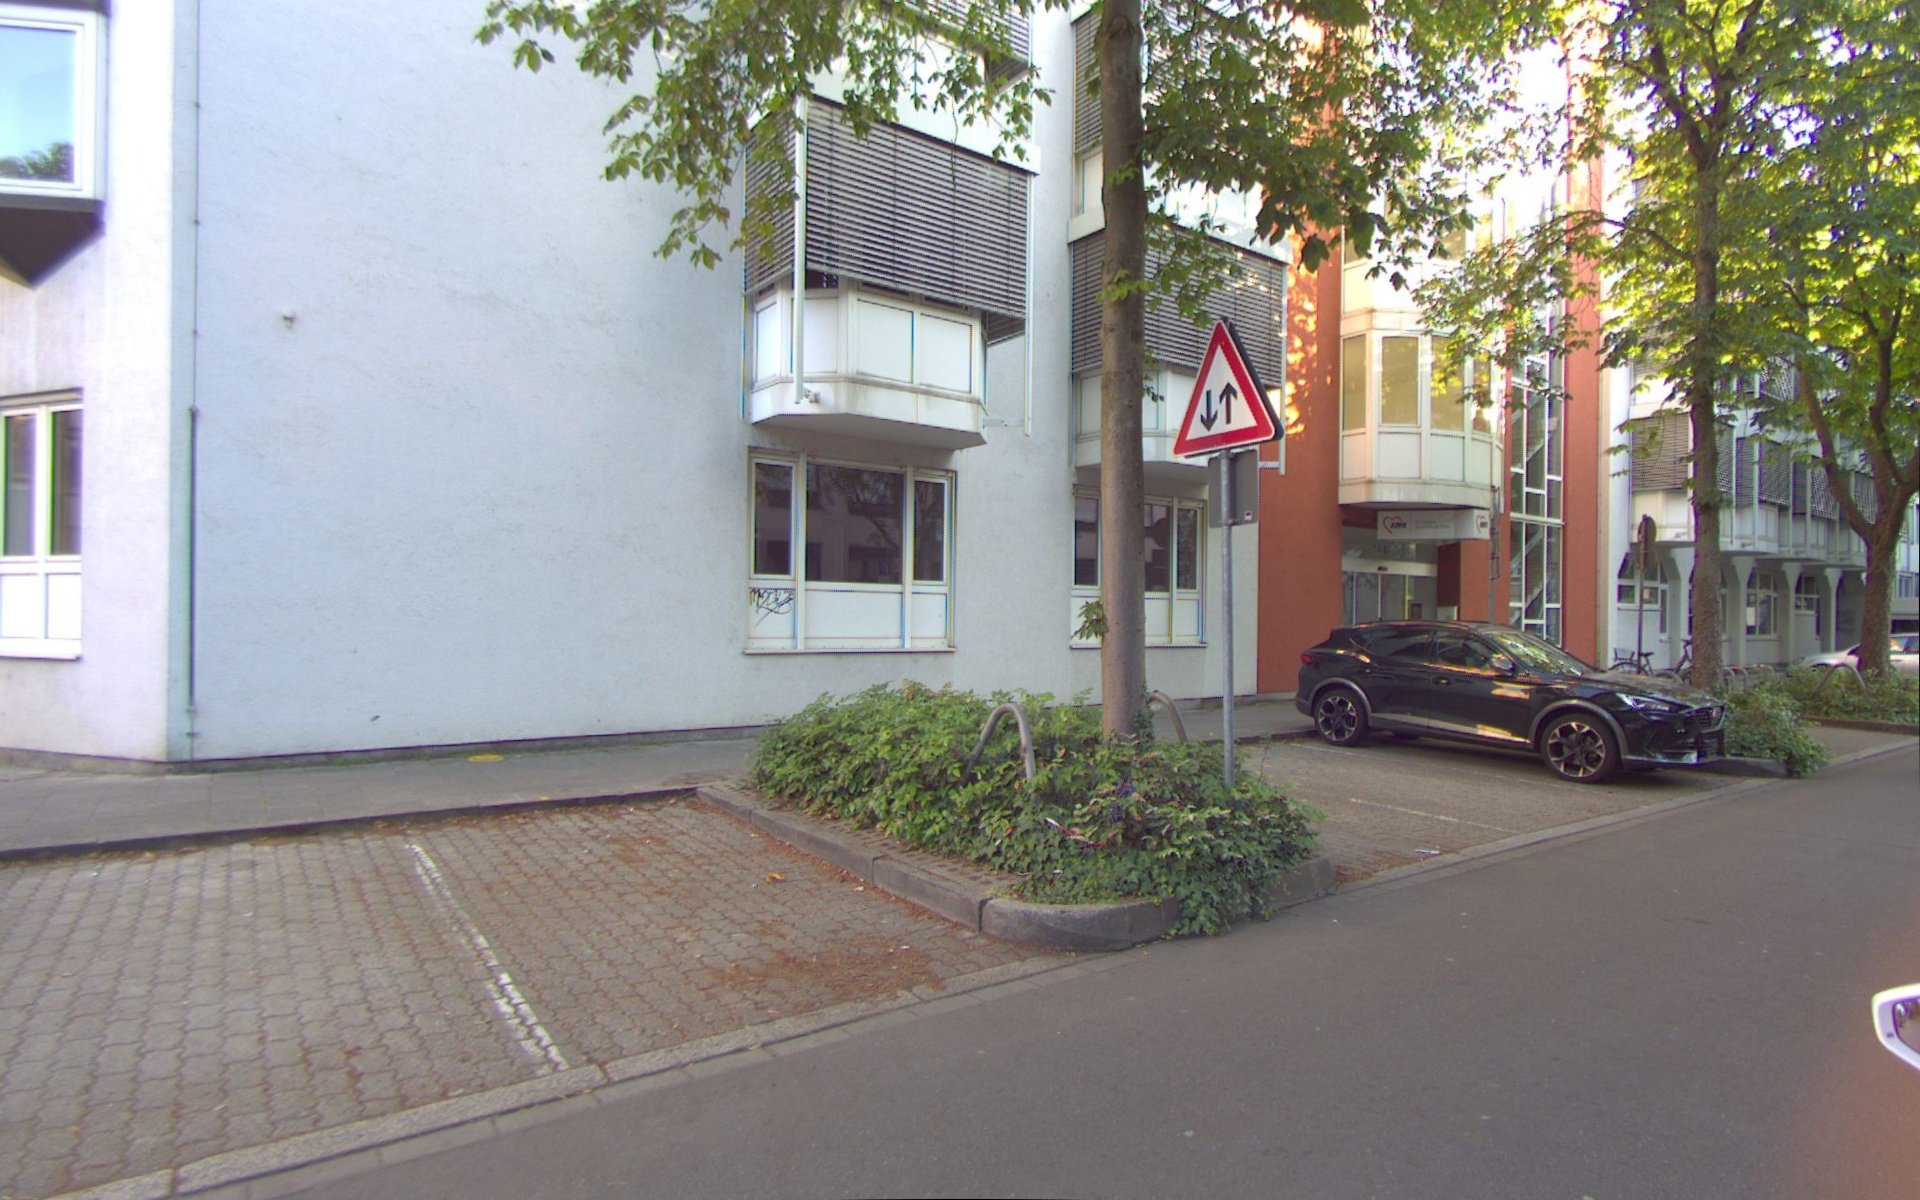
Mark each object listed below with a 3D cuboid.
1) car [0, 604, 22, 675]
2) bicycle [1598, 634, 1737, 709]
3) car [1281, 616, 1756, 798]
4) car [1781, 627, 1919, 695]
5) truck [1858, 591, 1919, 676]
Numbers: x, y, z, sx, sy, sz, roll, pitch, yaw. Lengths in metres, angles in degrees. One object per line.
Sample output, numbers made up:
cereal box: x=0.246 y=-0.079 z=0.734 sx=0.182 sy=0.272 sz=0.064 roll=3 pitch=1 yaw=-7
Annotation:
car: x=-20.964 y=0.817 z=19.822 sx=1.666 sy=1.534 sz=4.272 roll=0 pitch=-1 yaw=-14
bicycle: x=12.427 y=1.222 z=17.683 sx=1.949 sy=1.215 sz=0.499 roll=0 pitch=-1 yaw=44
car: x=6.002 y=1.004 z=11.322 sx=1.817 sy=1.529 sz=4.326 roll=1 pitch=0 yaw=-36
car: x=22.373 y=1.449 z=23.914 sx=1.624 sy=1.491 sz=4.103 roll=1 pitch=0 yaw=-36
truck: x=29.232 y=0.984 z=28.742 sx=1.896 sy=2.474 sz=4.967 roll=0 pitch=1 yaw=-34
